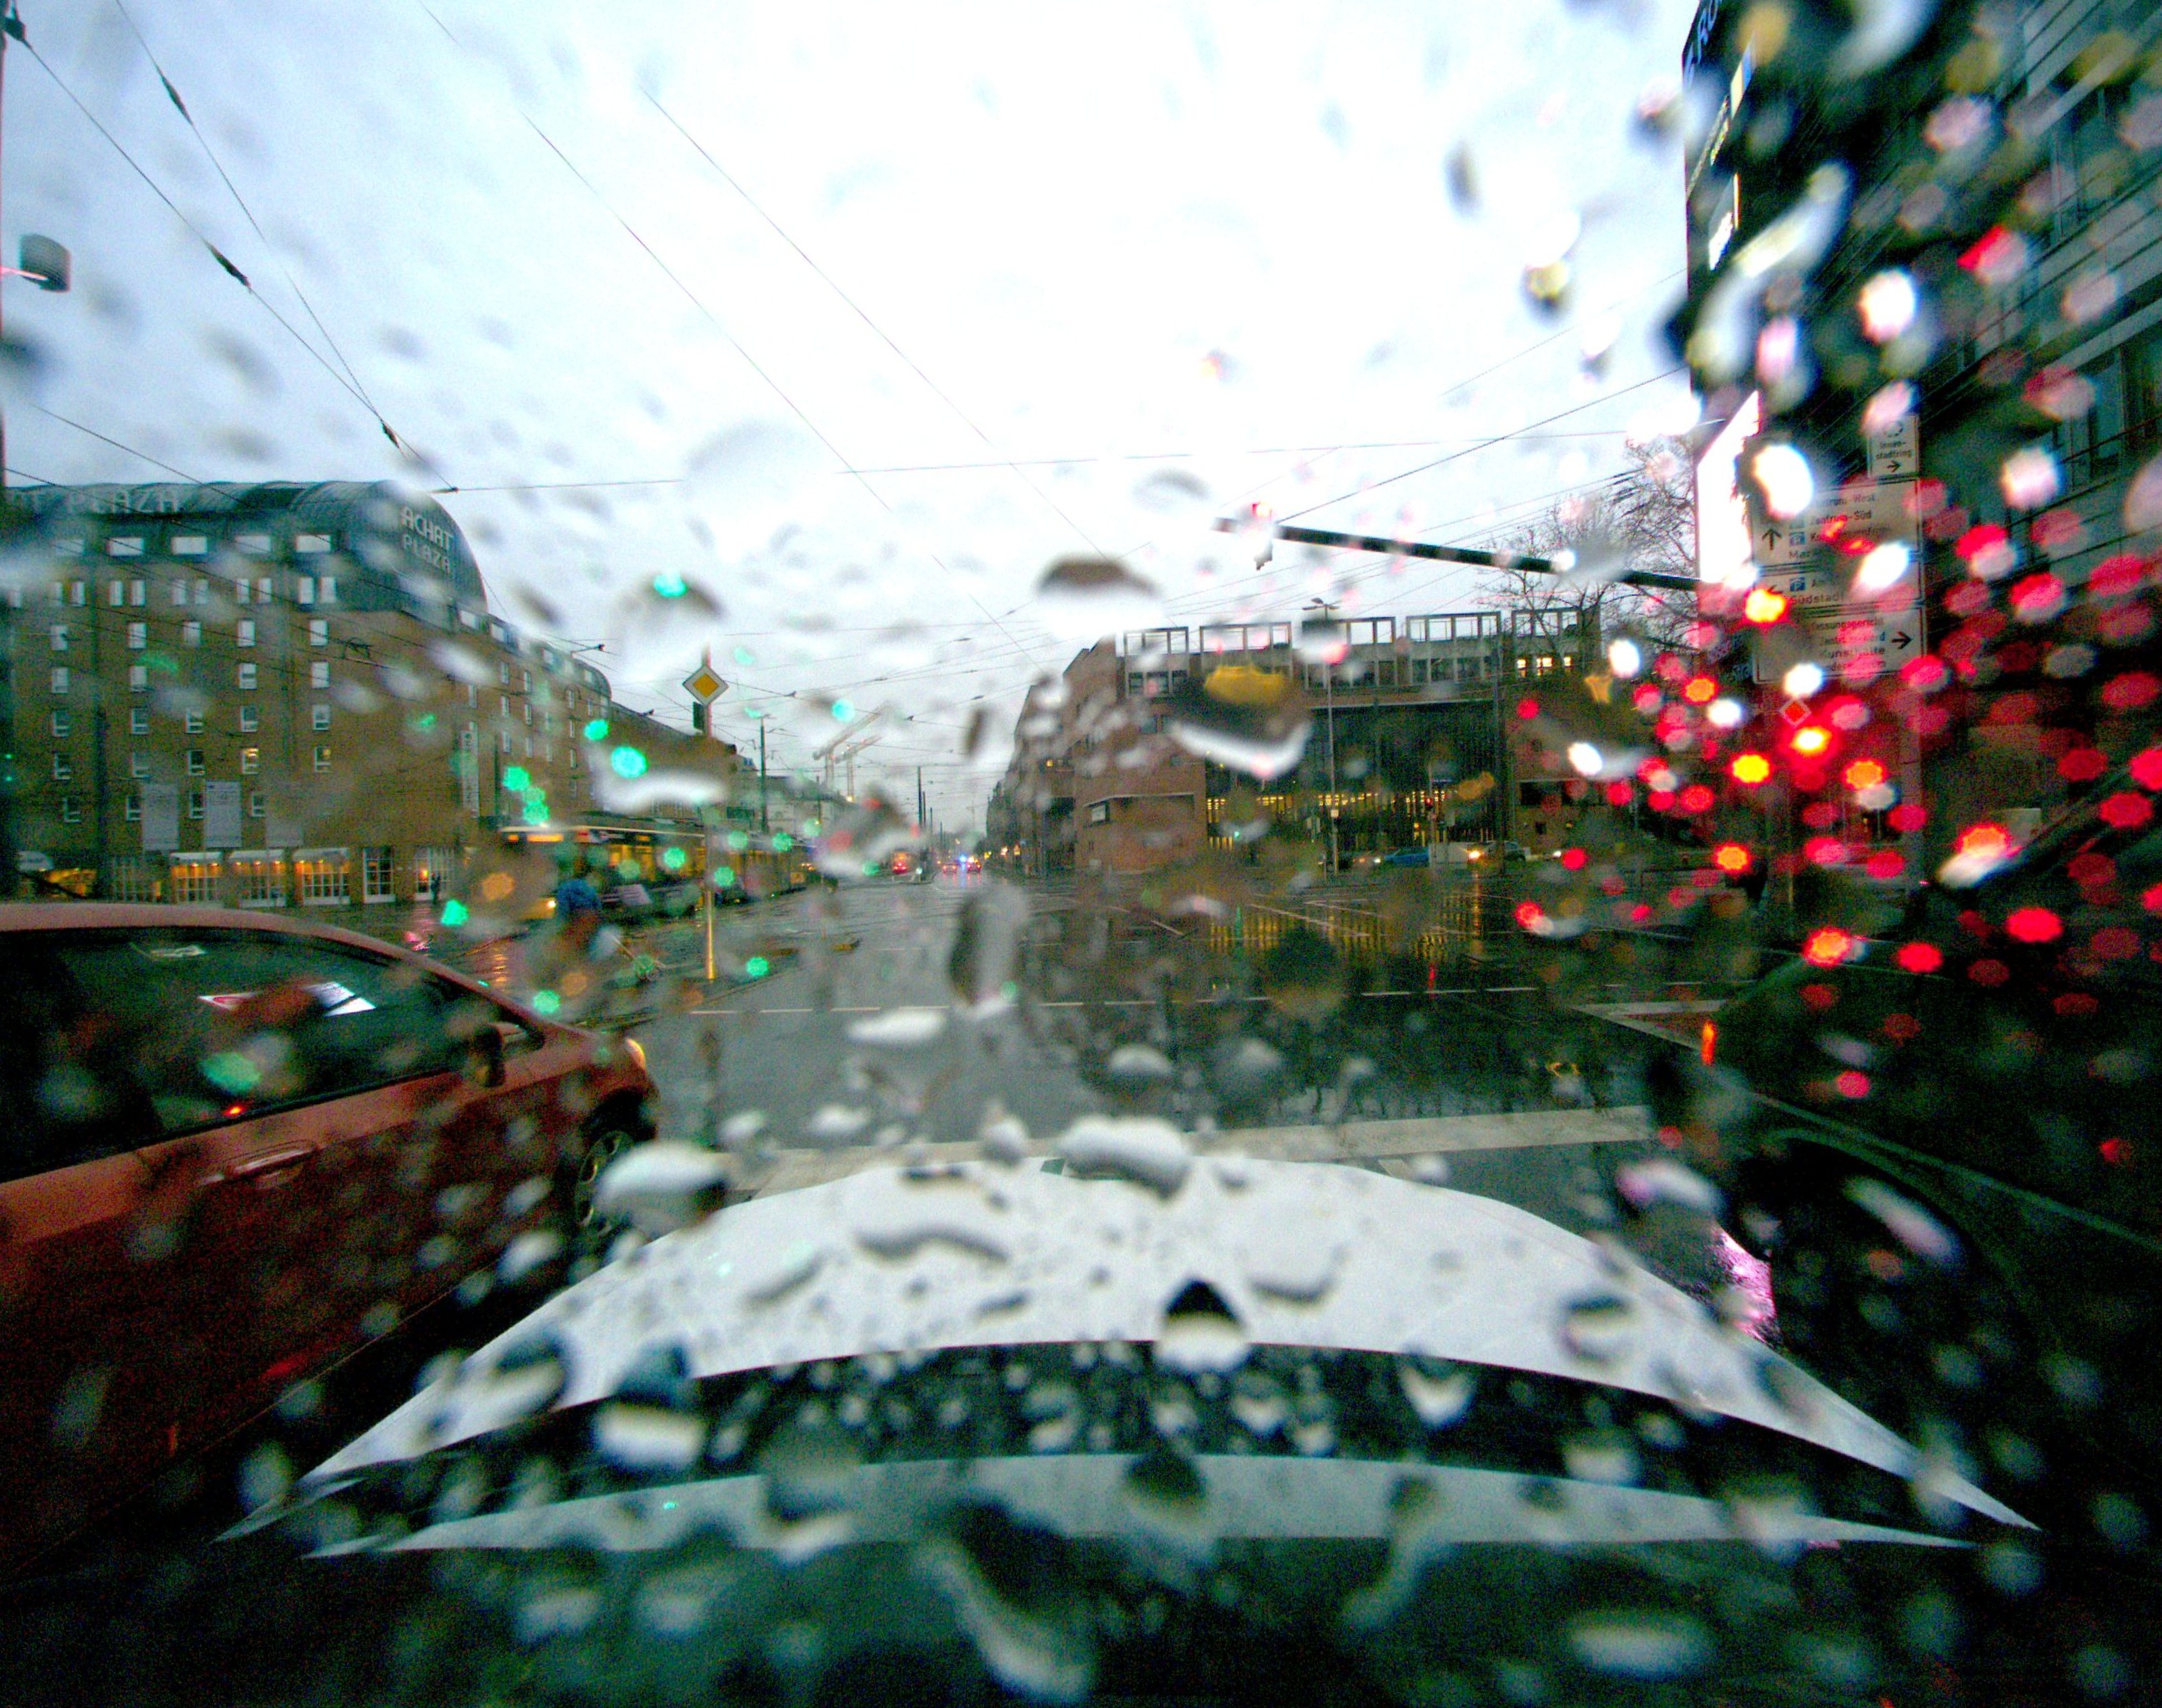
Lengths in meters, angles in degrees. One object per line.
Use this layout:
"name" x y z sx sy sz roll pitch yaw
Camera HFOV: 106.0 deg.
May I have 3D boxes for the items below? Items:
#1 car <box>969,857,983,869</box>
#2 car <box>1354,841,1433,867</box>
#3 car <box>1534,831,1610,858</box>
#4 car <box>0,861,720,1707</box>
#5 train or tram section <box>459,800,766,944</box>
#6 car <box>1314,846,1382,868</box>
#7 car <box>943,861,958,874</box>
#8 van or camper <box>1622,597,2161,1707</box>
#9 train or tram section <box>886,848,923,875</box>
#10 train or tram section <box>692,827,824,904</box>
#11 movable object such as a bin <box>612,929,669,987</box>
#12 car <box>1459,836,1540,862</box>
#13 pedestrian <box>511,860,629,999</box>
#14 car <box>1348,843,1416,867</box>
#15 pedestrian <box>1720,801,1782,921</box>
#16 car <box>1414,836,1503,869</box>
"car" -14.766 1.228 114.294 1.868 1.579 3.991 0 0 -6
"car" 18.327 -0.031 47.841 3.979 1.263 1.845 -2 4 -4
"car" 32.172 -0.635 53.393 3.979 1.504 1.845 -2 4 -4
"car" -2.685 0.793 2.068 1.691 1.459 3.759 -2 0 2
"train or tram section" -15.956 0.527 31.072 2.863 3.614 20.011 -2 0 -8
"car" 18.259 0.237 55.761 3.977 1.310 1.998 -2 0 -2
"car" -17.466 1.813 109.149 1.869 1.579 3.989 0 0 -8
"van or camper" 2.700 0.507 0.612 1.750 1.906 4.420 -1 0 2
"train or tram section" -26.195 1.079 122.392 3.189 3.436 27.753 -2 0 -8
"train or tram section" -18.514 0.632 48.639 2.863 3.614 19.156 -2 0 -8
"movable object such as a bin" -5.882 1.373 10.870 0.407 0.699 0.541 -5 -2 42
"car" 24.833 -0.303 48.396 3.979 1.288 1.845 -2 4 -4
"pedestrian" -6.425 0.919 10.250 0.707 1.601 1.043 -5 -1 43
"car" 19.158 0.070 51.911 3.713 1.263 1.845 -2 4 -4
"pedestrian" 12.479 0.129 15.188 0.574 2.184 0.619 -1 -1 -4
"car" 20.448 -0.099 44.209 3.979 1.504 1.845 -2 4 -4
